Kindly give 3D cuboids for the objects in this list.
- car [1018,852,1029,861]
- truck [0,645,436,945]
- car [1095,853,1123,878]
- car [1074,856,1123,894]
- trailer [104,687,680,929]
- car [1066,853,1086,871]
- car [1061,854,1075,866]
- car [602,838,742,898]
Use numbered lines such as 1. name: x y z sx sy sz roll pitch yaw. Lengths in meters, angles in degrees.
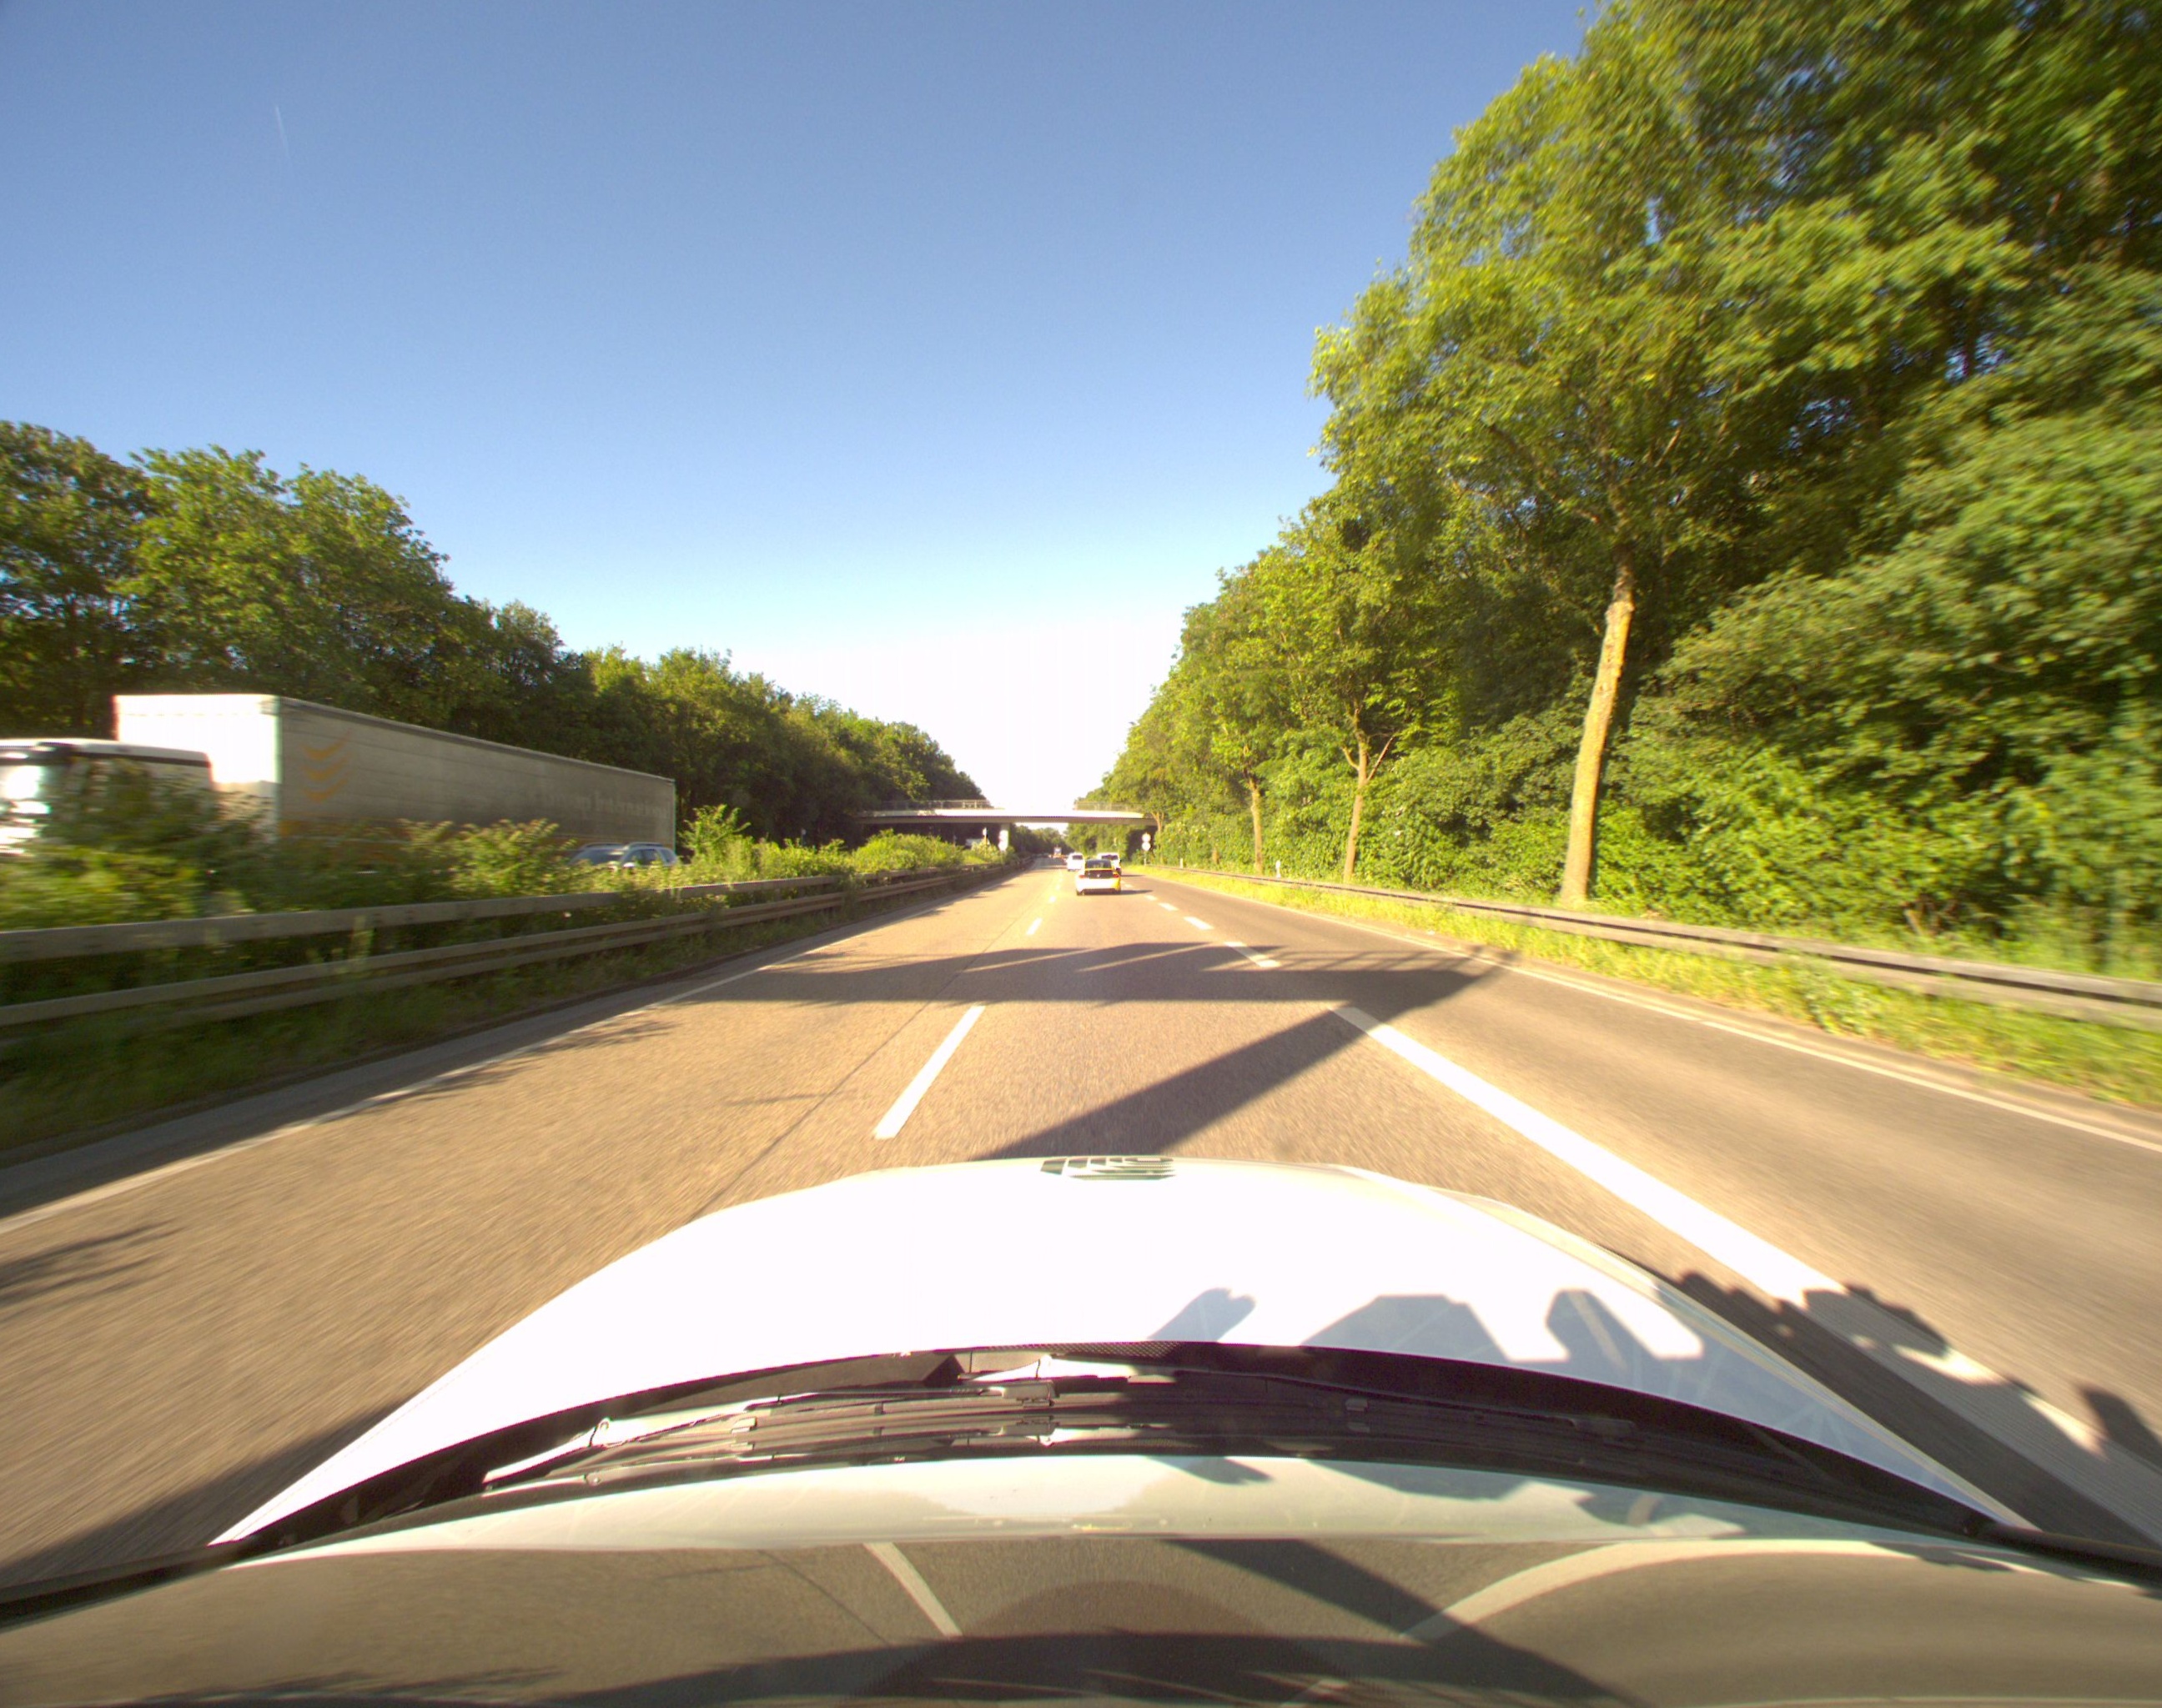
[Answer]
1. car: -10.775 0.446 153.163 1.712 1.595 4.001 0 -1 2
2. truck: -14.945 -0.788 14.015 2.730 4.027 6.177 0 0 -1
3. car: 2.096 0.848 61.782 1.891 1.824 3.998 -1 0 -1
4. car: 0.682 0.850 34.064 1.891 1.471 3.999 -1 0 -1
5. trailer: -15.007 -0.745 20.689 2.730 4.027 14.069 0 0 -1
6. car: -0.495 0.768 82.272 1.892 1.767 3.997 -1 0 -2
7. car: -1.978 0.962 122.852 1.892 1.767 3.997 -1 0 -2
8. car: -10.920 0.352 22.096 1.800 1.471 3.999 0 0 -1
